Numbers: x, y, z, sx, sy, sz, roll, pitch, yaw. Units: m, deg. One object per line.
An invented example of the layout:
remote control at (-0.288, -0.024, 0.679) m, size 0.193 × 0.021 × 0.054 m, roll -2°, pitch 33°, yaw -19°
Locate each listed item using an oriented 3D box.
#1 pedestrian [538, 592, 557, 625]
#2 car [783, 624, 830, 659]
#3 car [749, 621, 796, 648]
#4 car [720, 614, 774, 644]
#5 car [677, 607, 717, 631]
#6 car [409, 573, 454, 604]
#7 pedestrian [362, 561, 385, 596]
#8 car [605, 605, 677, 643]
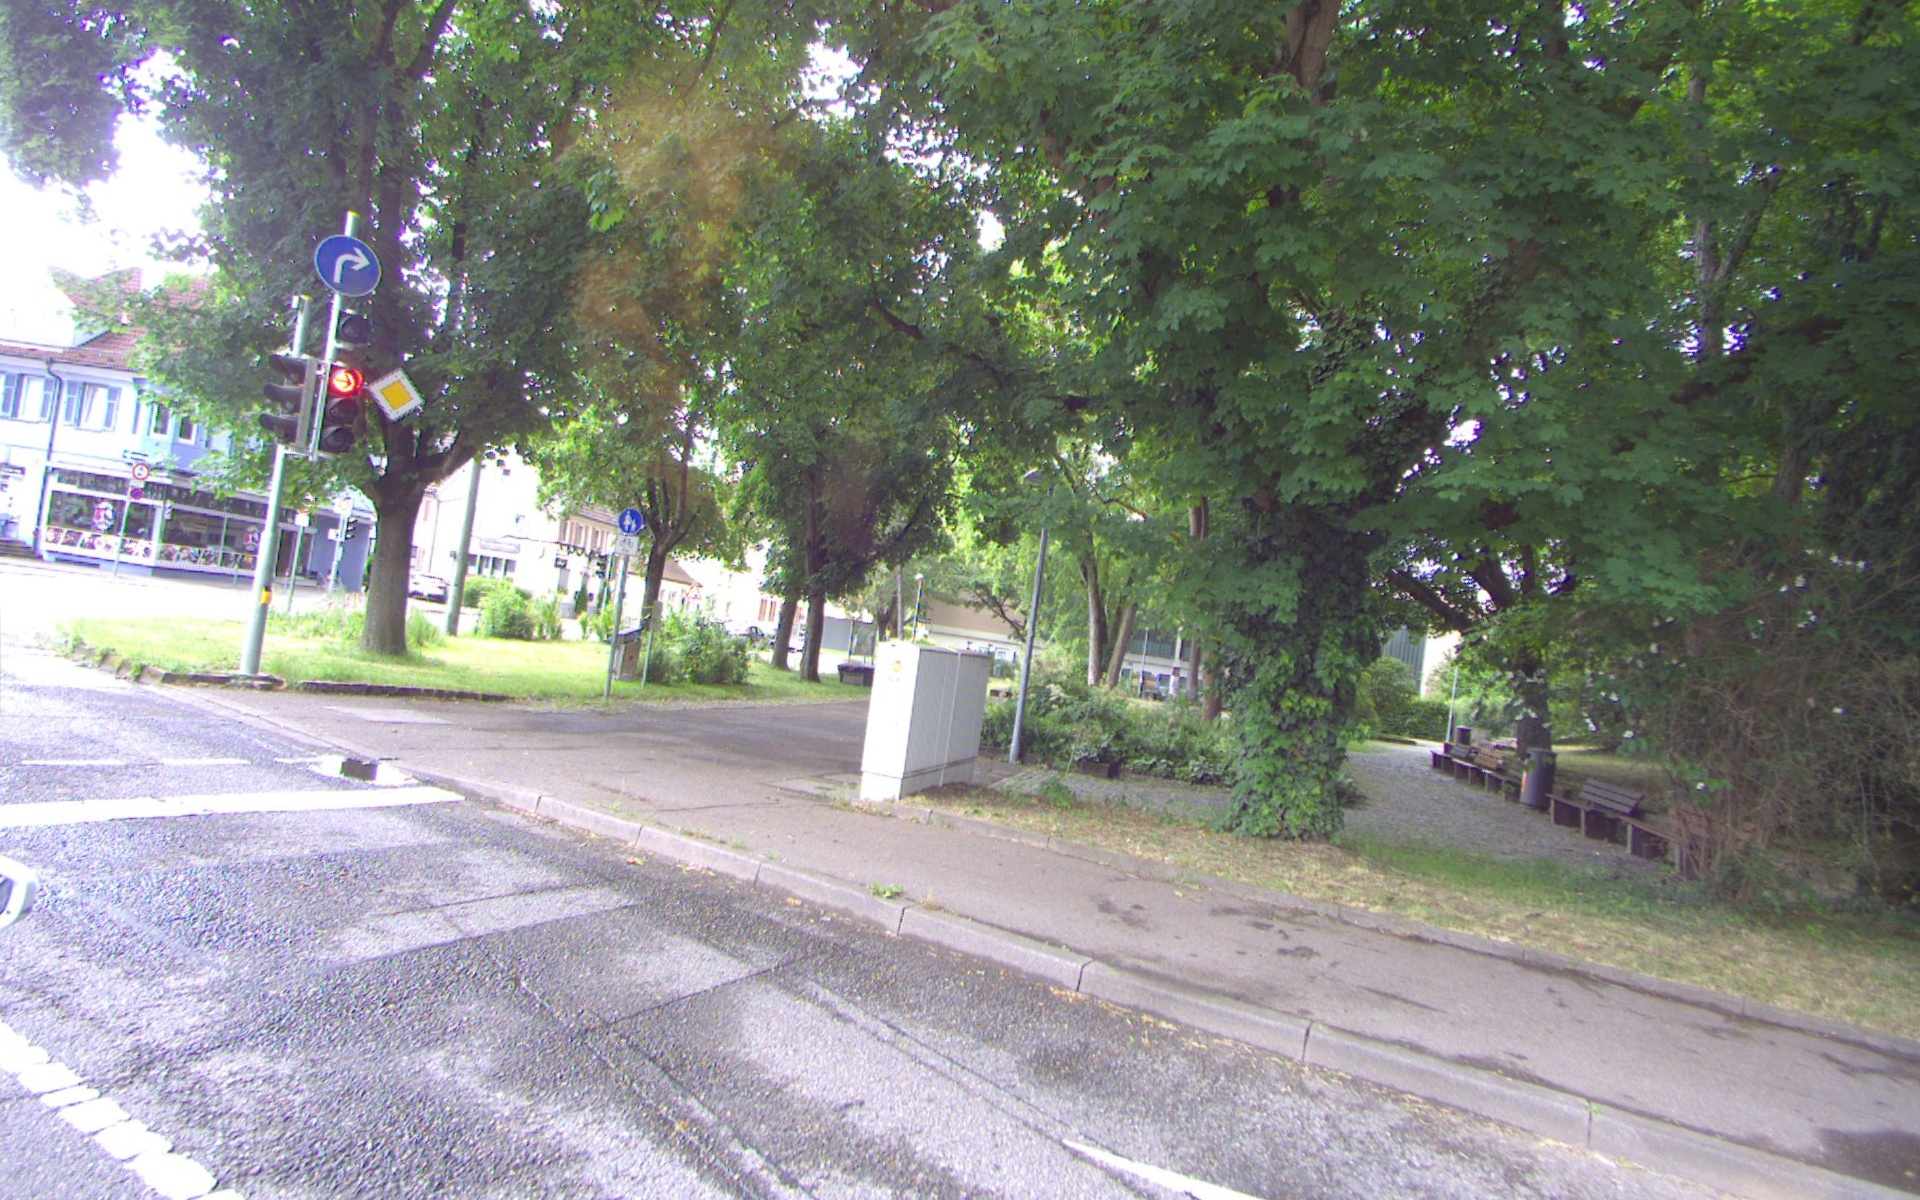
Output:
pedestrian at (-22.128, 0.450, 53.923) m, size 0.601 × 1.668 × 0.609 m, roll 7°, pitch -1°, yaw -7°
car at (-10.054, 2.759, 66.175) m, size 1.750 × 2.037 × 4.005 m, roll 7°, pitch -2°, yaw 7°
car at (-11.166, 2.071, 60.107) m, size 1.530 × 1.336 × 3.514 m, roll 7°, pitch -2°, yaw 8°
car at (-11.568, 1.597, 54.822) m, size 1.530 × 1.336 × 3.514 m, roll 7°, pitch -2°, yaw 9°
car at (-19.368, 1.444, 74.250) m, size 1.528 × 1.436 × 4.005 m, roll 7°, pitch -2°, yaw 4°
car at (-27.870, -0.601, 53.146) m, size 1.479 × 1.384 × 3.166 m, roll 8°, pitch -2°, yaw -19°
pedestrian at (-27.270, -0.997, 46.785) m, size 0.576 × 1.535 × 0.460 m, roll 7°, pitch -1°, yaw 11°
car at (-14.010, 1.090, 44.358) m, size 1.530 × 1.336 × 3.514 m, roll 7°, pitch -2°, yaw 9°
